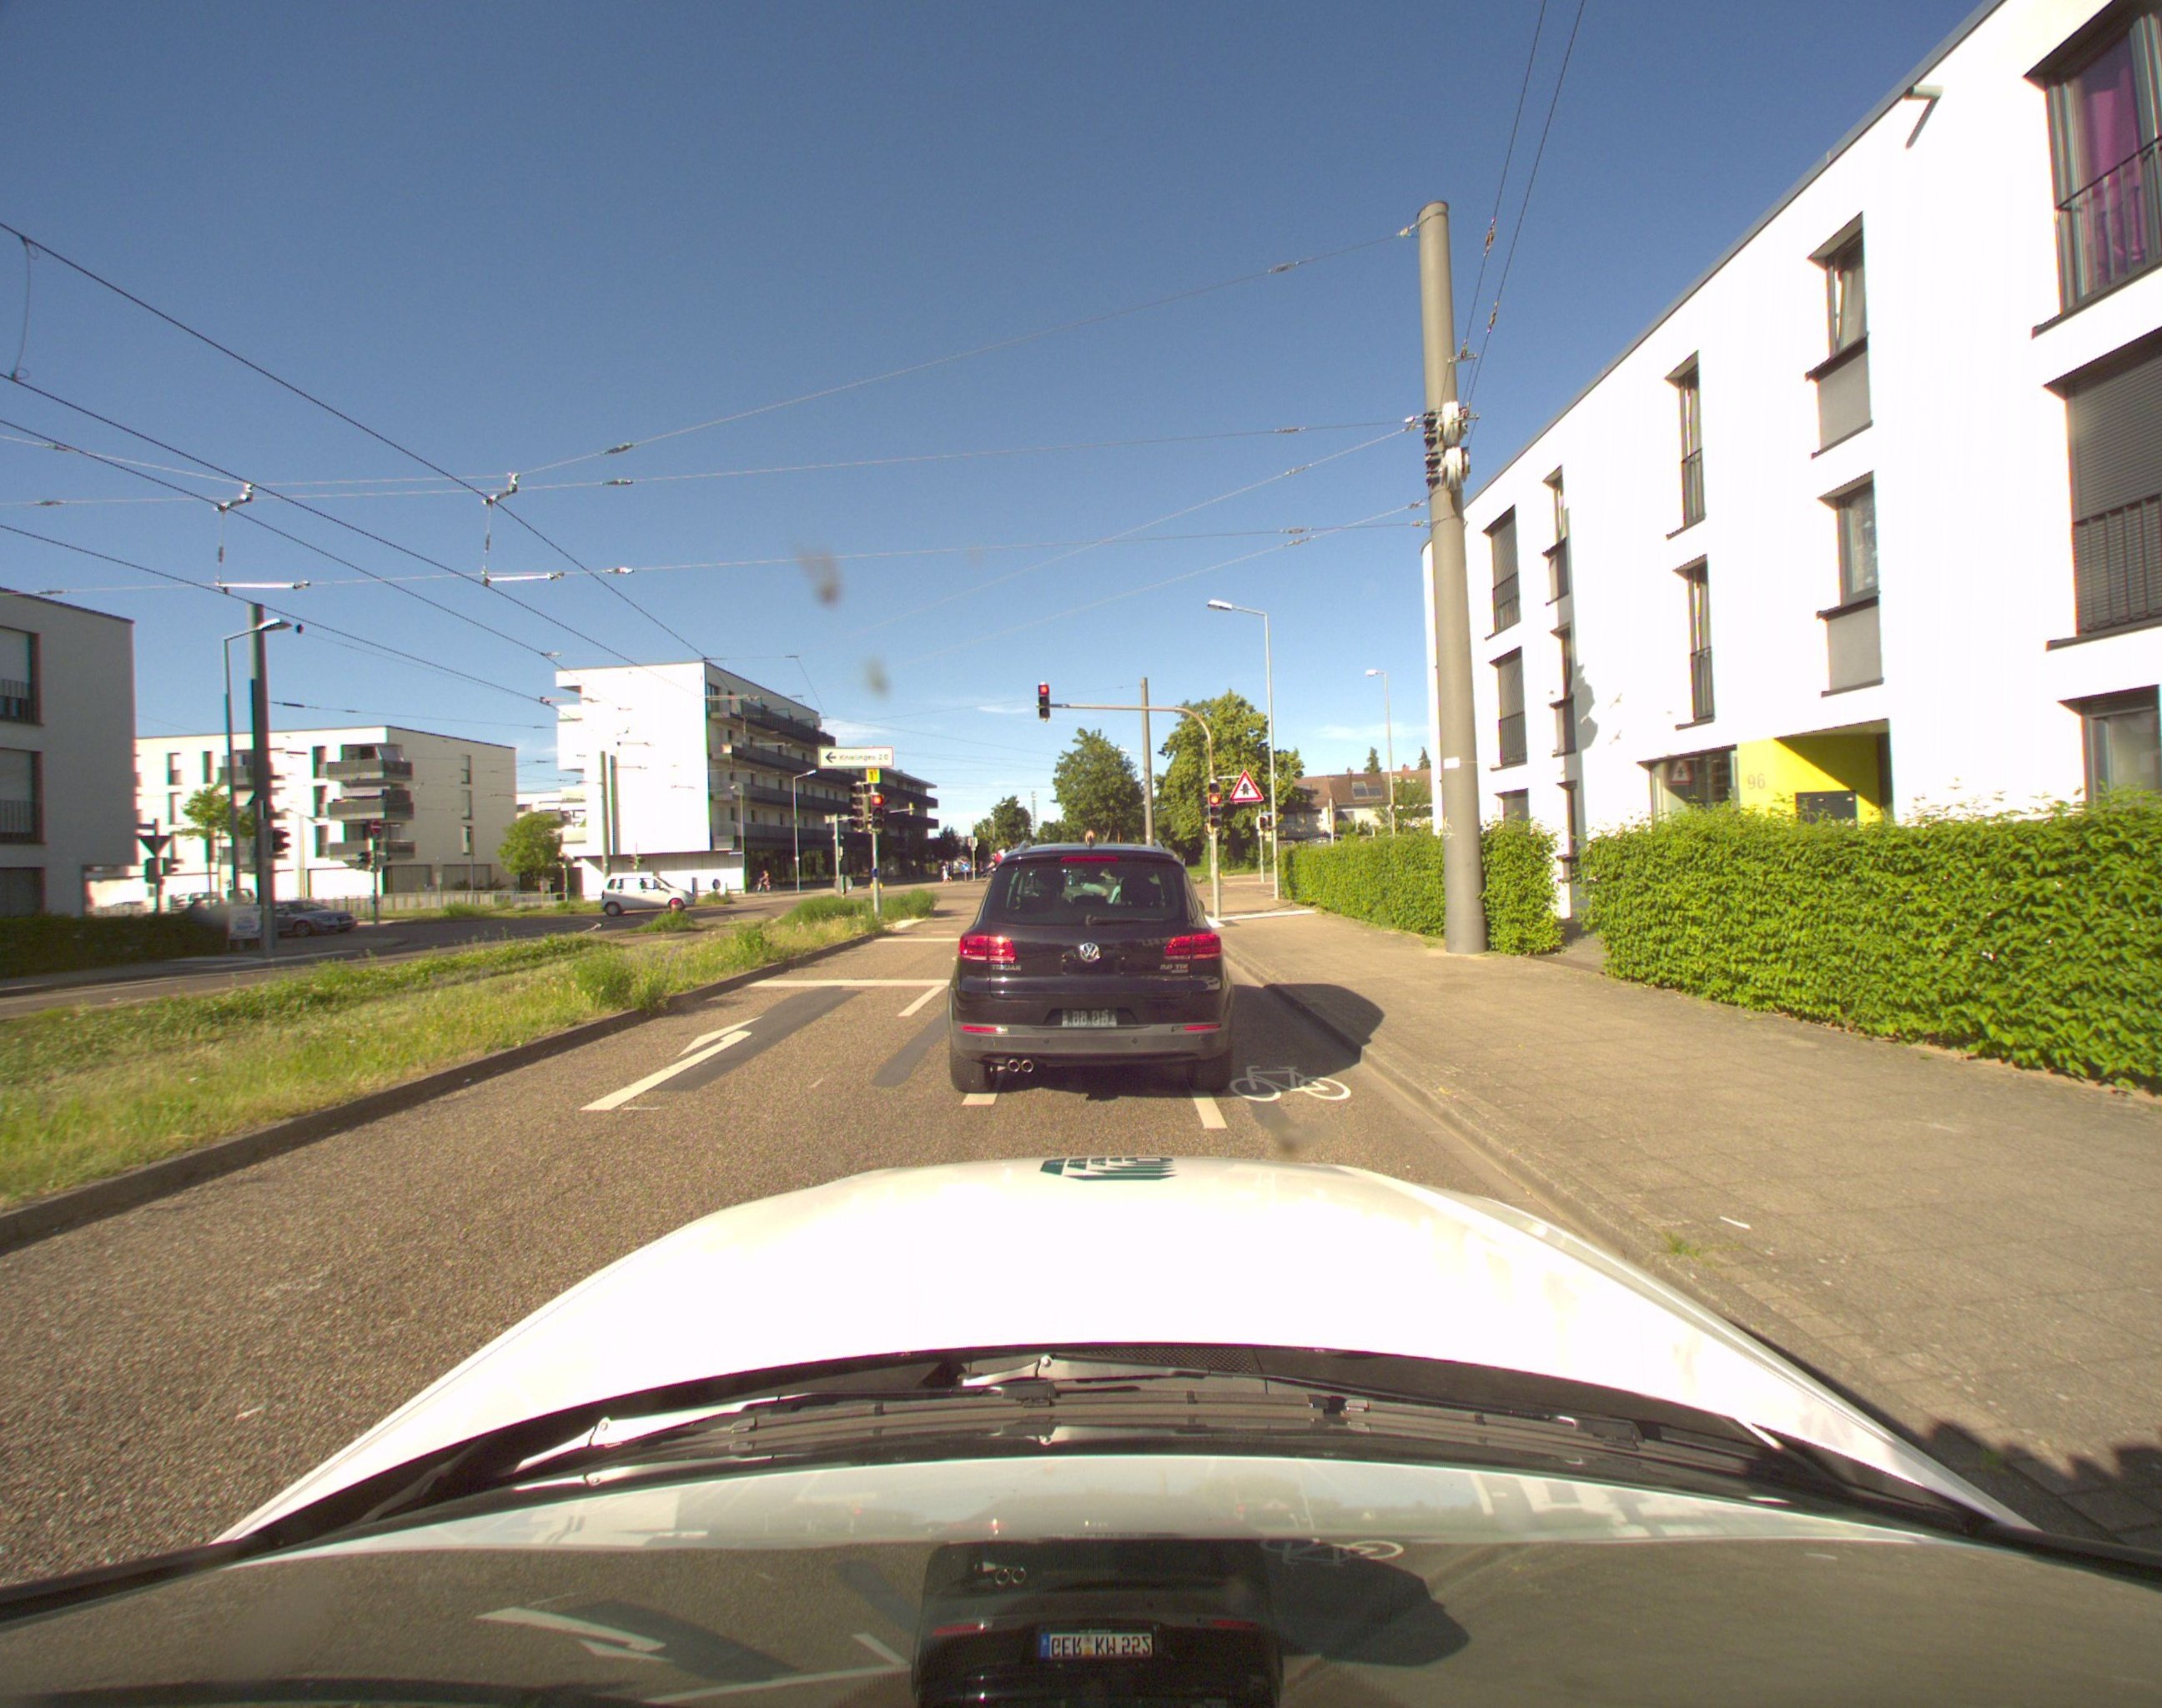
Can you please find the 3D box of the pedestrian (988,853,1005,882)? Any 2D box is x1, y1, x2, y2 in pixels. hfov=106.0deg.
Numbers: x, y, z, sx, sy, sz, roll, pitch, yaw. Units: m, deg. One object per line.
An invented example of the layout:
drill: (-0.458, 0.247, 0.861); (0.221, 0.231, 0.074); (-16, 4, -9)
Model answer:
pedestrian: (-5.175, 0.808, 49.715); (0.808, 1.692, 0.622); (-3, -1, 9)

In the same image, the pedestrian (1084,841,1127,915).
pedestrian: (0.537, 0.527, 18.235); (0.849, 1.594, 0.913); (-3, -1, 0)

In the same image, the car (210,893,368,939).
car: (-30.679, 2.376, 31.643); (4.088, 1.485, 1.867); (-3, 0, -4)

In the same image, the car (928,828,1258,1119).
car: (0.127, 0.693, 6.616); (1.862, 1.637, 4.001); (0, -1, 2)

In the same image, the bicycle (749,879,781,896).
bicycle: (-21.627, 2.293, 55.689); (1.871, 1.124, 0.812); (0, -1, -43)

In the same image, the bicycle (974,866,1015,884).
bicycle: (-5.268, 1.283, 49.725); (2.395, 1.002, 0.642); (-3, -1, 9)

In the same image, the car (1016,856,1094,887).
car: (-1.445, 0.971, 45.845); (3.960, 1.684, 2.006); (-1, -1, 12)

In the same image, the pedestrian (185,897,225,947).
pedestrian: (-29.584, 2.277, 27.504); (0.733, 1.605, 0.778); (-1, -1, 31)

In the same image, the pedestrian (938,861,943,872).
pedestrian: (-19.205, 1.712, 111.308); (0.640, 1.509, 0.596); (0, -1, 2)

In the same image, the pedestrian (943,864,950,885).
pedestrian: (-9.929, 1.529, 60.062); (0.440, 1.503, 0.517); (0, -1, -4)

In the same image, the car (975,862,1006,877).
car: (-9.693, 1.611, 87.387); (1.980, 1.574, 4.353); (-1, -1, 11)

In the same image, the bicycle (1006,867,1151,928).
bicycle: (-0.045, 0.956, 18.246); (3.104, 1.173, 0.932); (-3, -1, 1)

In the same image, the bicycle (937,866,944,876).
bicycle: (-19.203, 2.338, 111.282); (0.628, 1.332, 1.913); (0, -1, 1)

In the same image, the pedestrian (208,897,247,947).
pedestrian: (-28.839, 2.272, 27.521); (0.733, 1.605, 0.778); (-1, -1, 31)

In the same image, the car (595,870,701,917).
car: (-18.223, 1.626, 34.477); (3.688, 1.720, 1.857); (-2, 0, -21)

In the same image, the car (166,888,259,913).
car: (-58.831, 3.147, 55.207); (4.305, 1.574, 2.002); (0, -1, 4)

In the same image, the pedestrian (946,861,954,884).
pedestrian: (-9.747, 1.384, 60.646); (0.542, 1.744, 0.517); (0, -1, -4)

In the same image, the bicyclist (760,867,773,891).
bicyclist: (-21.540, 1.703, 55.781); (0.644, 1.614, 0.776); (0, -1, -42)
